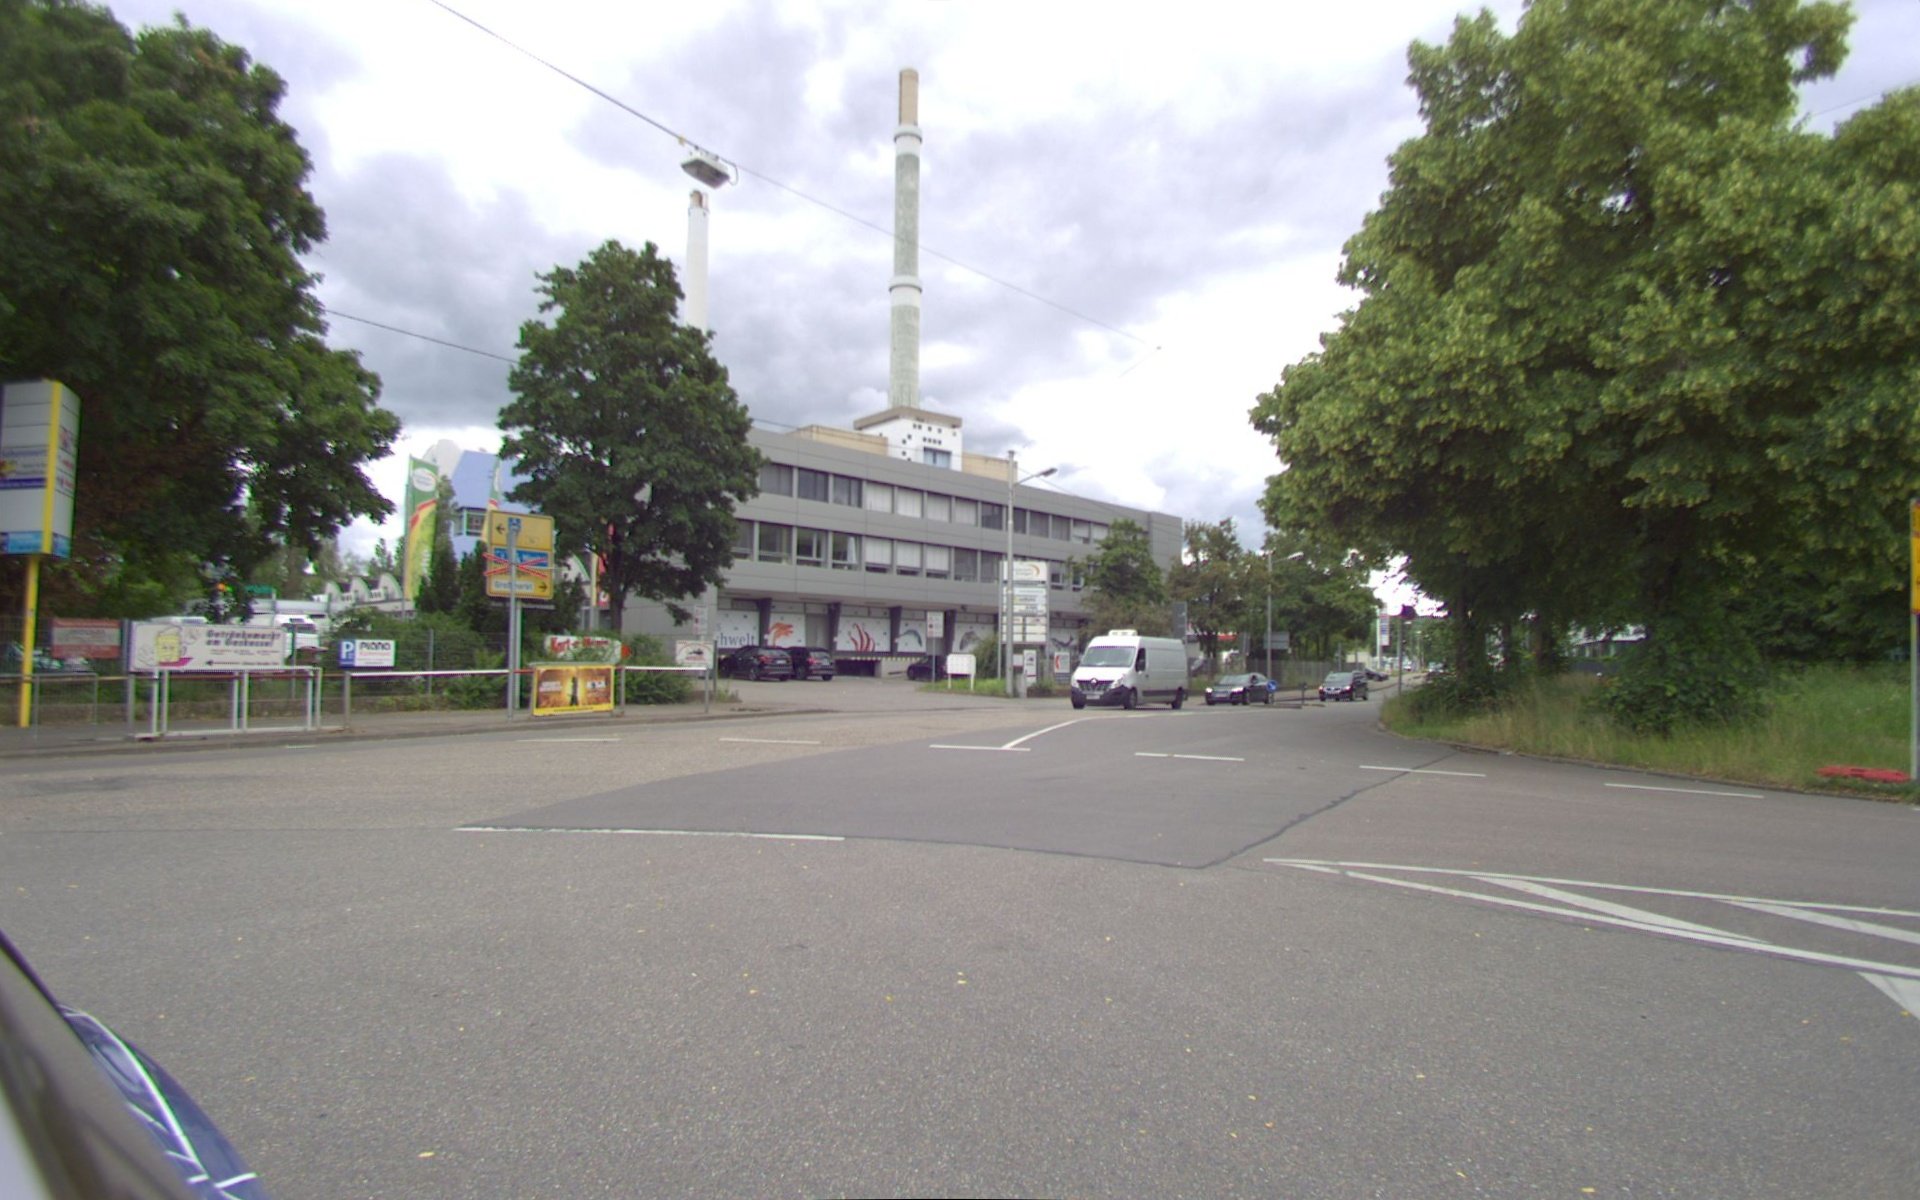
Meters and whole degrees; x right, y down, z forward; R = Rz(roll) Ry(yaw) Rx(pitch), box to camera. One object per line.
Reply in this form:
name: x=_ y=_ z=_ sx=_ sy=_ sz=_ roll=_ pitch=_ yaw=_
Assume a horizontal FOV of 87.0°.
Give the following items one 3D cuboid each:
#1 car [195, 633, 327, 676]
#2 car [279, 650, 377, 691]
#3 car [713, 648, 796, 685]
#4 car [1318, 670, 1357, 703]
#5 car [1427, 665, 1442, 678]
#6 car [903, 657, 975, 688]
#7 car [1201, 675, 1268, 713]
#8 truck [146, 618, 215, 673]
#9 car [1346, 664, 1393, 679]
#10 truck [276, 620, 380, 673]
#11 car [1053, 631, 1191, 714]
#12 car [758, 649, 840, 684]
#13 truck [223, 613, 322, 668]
car: x=-47.670 y=3.765 z=69.164 sx=2.244 sy=2.754 sz=7.050 roll=-3 pitch=-6 yaw=44
car: x=-20.683 y=2.287 z=33.083 sx=3.700 sy=1.258 sz=1.686 roll=-3 pitch=-5 yaw=41
car: x=-9.935 y=3.163 z=48.716 sx=1.811 sy=1.630 sz=4.469 roll=4 pitch=-4 yaw=-44
car: x=20.325 y=4.605 z=54.415 sx=1.784 sy=1.653 sz=4.407 roll=-1 pitch=-4 yaw=22
car: x=63.790 y=9.635 z=136.054 sx=1.786 sy=1.653 sz=4.403 roll=-2 pitch=-4 yaw=25
car: x=-1.198 y=3.944 z=55.517 sx=2.015 sy=1.456 sz=4.844 roll=2 pitch=-2 yaw=-27
car: x=12.085 y=4.069 z=44.377 sx=1.858 sy=1.524 sz=4.396 roll=-2 pitch=-4 yaw=29
truck: x=-63.521 y=3.770 z=82.364 sx=9.191 sy=4.198 sz=2.956 roll=-3 pitch=-5 yaw=44
car: x=53.333 y=9.334 z=131.858 sx=5.435 sy=1.884 sz=2.009 roll=-2 pitch=-4 yaw=26
truck: x=-51.641 y=3.888 z=82.336 sx=15.724 sy=3.964 sz=2.812 roll=-3 pitch=-5 yaw=42
car: x=5.480 y=2.377 z=33.480 sx=2.381 sy=2.478 sz=6.034 roll=-3 pitch=-5 yaw=31
car: x=-8.165 y=3.341 z=51.074 sx=1.812 sy=1.630 sz=4.426 roll=4 pitch=-4 yaw=-45
truck: x=-54.080 y=3.294 z=79.318 sx=15.727 sy=3.964 sz=2.812 roll=-3 pitch=-5 yaw=43
